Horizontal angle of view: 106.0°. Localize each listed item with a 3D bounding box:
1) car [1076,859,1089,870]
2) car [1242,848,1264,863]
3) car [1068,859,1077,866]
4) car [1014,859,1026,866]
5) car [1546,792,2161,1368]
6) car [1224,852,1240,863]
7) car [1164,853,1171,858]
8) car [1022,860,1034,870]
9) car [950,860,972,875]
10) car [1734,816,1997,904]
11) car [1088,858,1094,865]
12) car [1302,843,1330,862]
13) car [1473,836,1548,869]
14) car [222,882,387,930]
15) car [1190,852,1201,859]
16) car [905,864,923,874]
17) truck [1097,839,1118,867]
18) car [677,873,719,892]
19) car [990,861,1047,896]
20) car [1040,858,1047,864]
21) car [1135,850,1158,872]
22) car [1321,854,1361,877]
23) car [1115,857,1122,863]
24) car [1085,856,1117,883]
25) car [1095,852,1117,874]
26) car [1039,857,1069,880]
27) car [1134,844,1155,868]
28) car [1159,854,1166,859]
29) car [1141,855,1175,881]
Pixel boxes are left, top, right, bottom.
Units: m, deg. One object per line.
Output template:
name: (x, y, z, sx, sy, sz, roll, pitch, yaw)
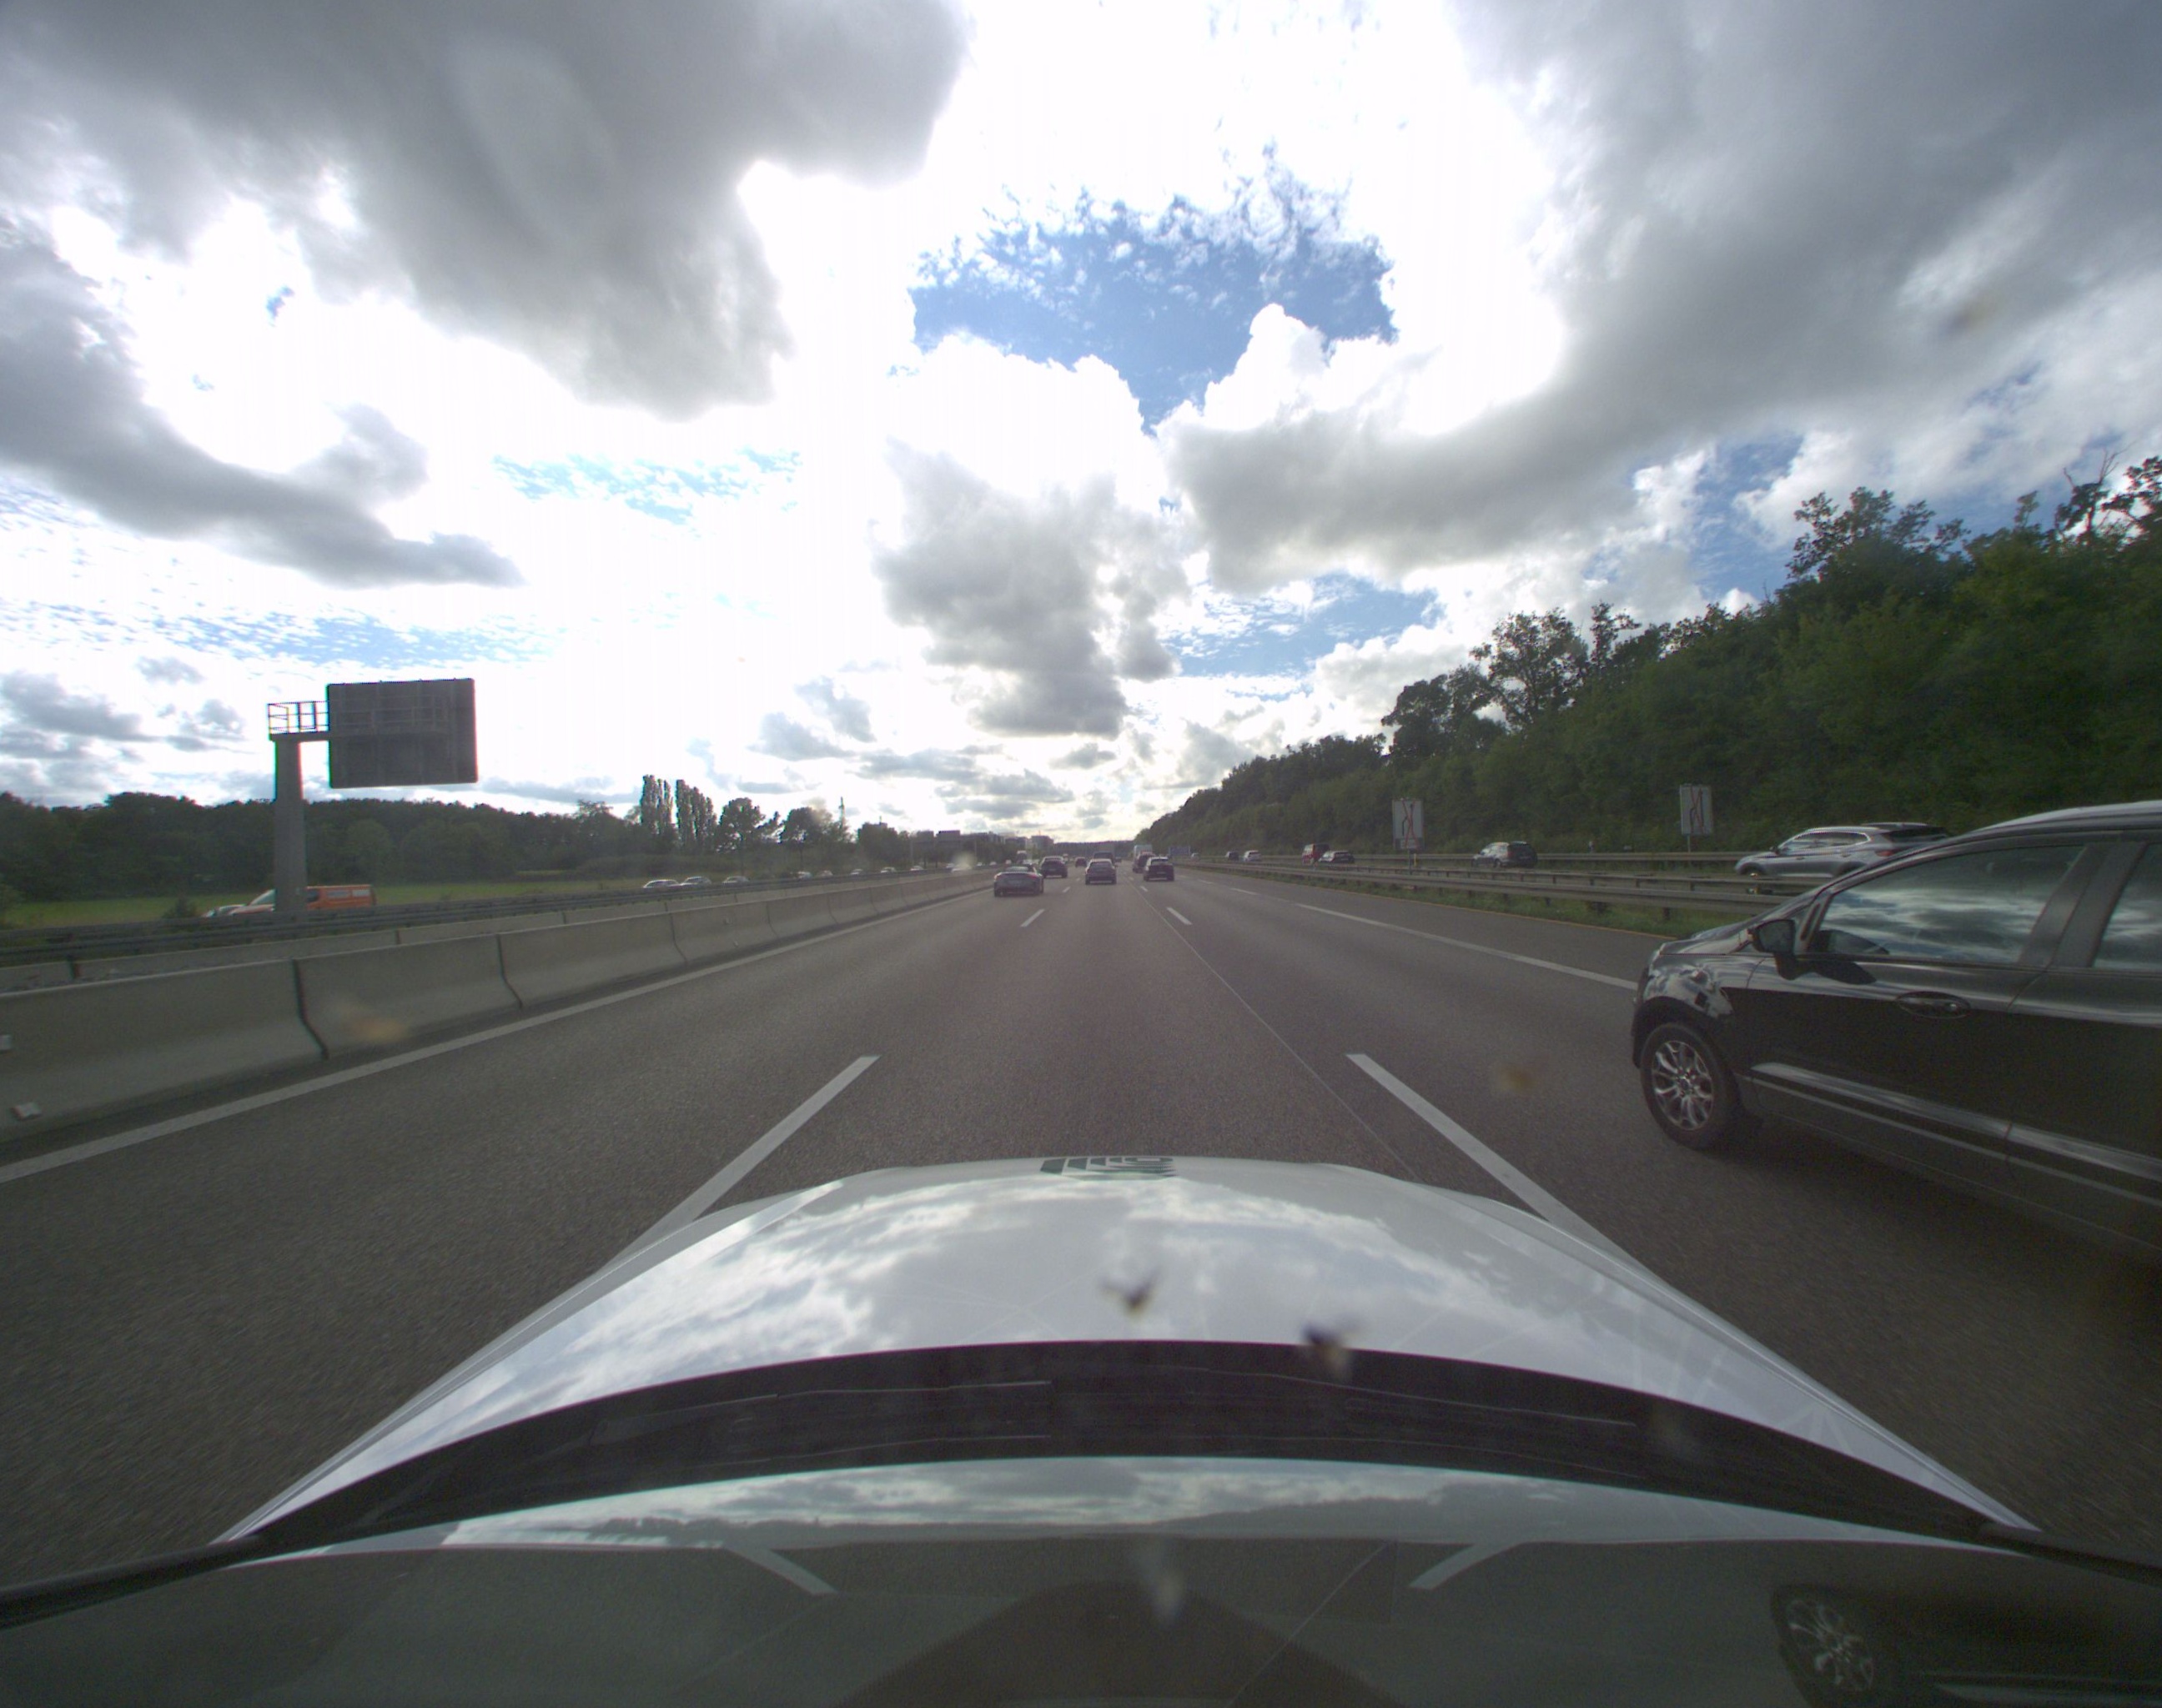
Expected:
car: (0.274, 1.707, 132.582, 1.866, 1.698, 4.073, -2, 0, 1)
car: (20.504, 0.153, 97.210, 1.745, 1.695, 4.191, -2, 0, 1)
car: (-1.831, 1.782, 172.915, 1.660, 1.555, 4.001, -2, 0, 2)
car: (-15.147, 2.158, 202.422, 2.299, 1.777, 5.063, -2, 0, 0)
car: (3.781, 0.593, 3.104, 1.691, 1.564, 4.114, -2, 0, 1)
car: (24.302, 0.528, 131.108, 1.745, 1.695, 4.191, -2, 0, 1)
car: (27.074, 0.562, 254.026, 1.746, 1.517, 4.190, -2, 0, 1)
car: (-8.980, 1.855, 137.572, 1.660, 1.555, 4.001, -2, 0, 2)
car: (-13.642, 1.556, 93.094, 1.772, 1.645, 4.073, -2, 0, 1)
car: (17.472, 0.118, 18.495, 1.840, 1.650, 4.307, -4, 0, 2)
car: (3.092, 2.312, 252.327, 1.986, 1.816, 4.568, -2, 0, 2)
car: (22.893, -0.154, 79.521, 1.590, 1.804, 3.824, -2, 0, 0)
car: (21.885, -0.062, 41.672, 1.747, 1.596, 4.001, -2, 0, 2)
car: (-32.803, 2.143, 34.659, 1.986, 1.700, 5.137, -2, 0, 1)
car: (25.912, 0.422, 184.234, 1.746, 1.517, 4.190, -2, 0, 1)
car: (-29.820, 2.651, 145.732, 1.986, 1.700, 5.136, -2, 0, 1)
truck: (4.253, -0.094, 132.450, 3.251, 4.375, 11.030, -1, 0, 2)
car: (-38.240, 2.824, 81.442, 1.987, 1.632, 4.655, -2, 0, 1)
car: (-2.586, 0.988, 34.848, 1.866, 1.302, 4.944, -1, 0, 2)
car: (-10.012, 1.968, 217.147, 1.660, 1.555, 4.001, -2, 0, 1)
car: (5.973, 0.623, 74.869, 1.906, 1.919, 4.031, -1, 0, 1)
car: (19.027, 0.839, 59.697, 1.590, 1.546, 4.190, -2, 0, 0)
car: (9.792, 1.553, 212.096, 1.745, 1.695, 4.191, -2, 0, 1)
car: (1.156, 0.854, 47.221, 1.714, 1.479, 4.393, -1, 0, 2)
car: (2.059, 0.689, 66.684, 1.714, 1.724, 4.393, -1, 0, 2)
car: (-2.059, 1.079, 63.537, 1.905, 1.636, 5.502, -1, 0, 2)
car: (6.359, 0.196, 81.857, 1.866, 2.357, 4.283, -1, 0, 1)
car: (23.845, 0.666, 238.478, 1.722, 1.533, 4.454, -2, 0, 1)
car: (4.741, 0.849, 50.658, 1.825, 1.521, 4.226, -1, 0, 1)
